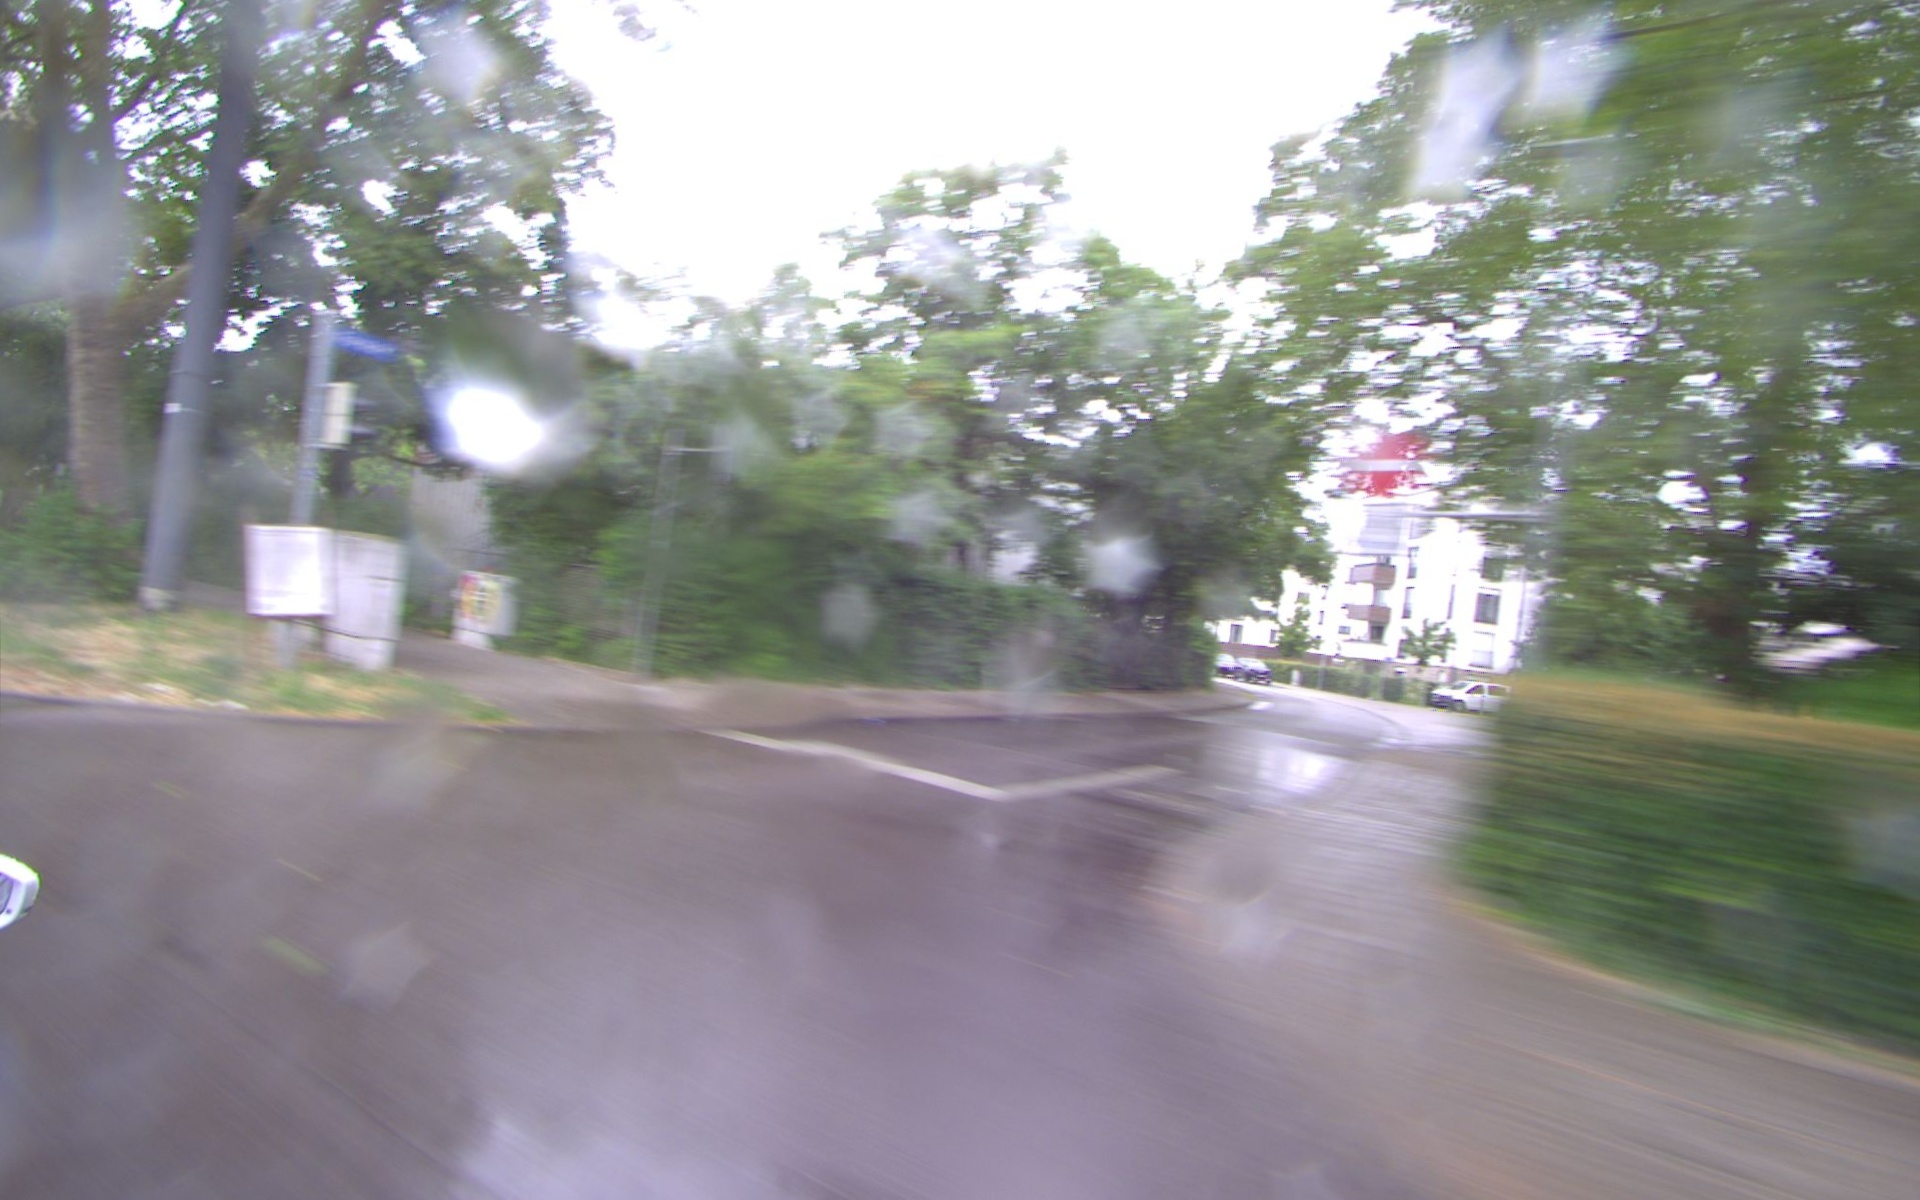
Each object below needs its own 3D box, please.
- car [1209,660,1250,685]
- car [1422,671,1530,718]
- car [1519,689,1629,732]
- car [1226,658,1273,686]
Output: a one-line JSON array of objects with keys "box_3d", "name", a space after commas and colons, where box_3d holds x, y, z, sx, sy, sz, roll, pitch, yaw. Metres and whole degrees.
[{"box_3d": [20.602, 5.530, 77.049, 1.963, 1.592, 4.004, 7, -2, 1], "name": "car"}, {"box_3d": [30.213, 5.518, 59.020, 5.045, 2.037, 2.256, 8, -2, -1], "name": "car"}, {"box_3d": [36.604, 6.577, 60.044, 5.045, 1.722, 2.256, 8, -2, -1], "name": "car"}, {"box_3d": [20.130, 4.975, 70.103, 1.963, 1.592, 4.004, 7, -2, 1], "name": "car"}]
